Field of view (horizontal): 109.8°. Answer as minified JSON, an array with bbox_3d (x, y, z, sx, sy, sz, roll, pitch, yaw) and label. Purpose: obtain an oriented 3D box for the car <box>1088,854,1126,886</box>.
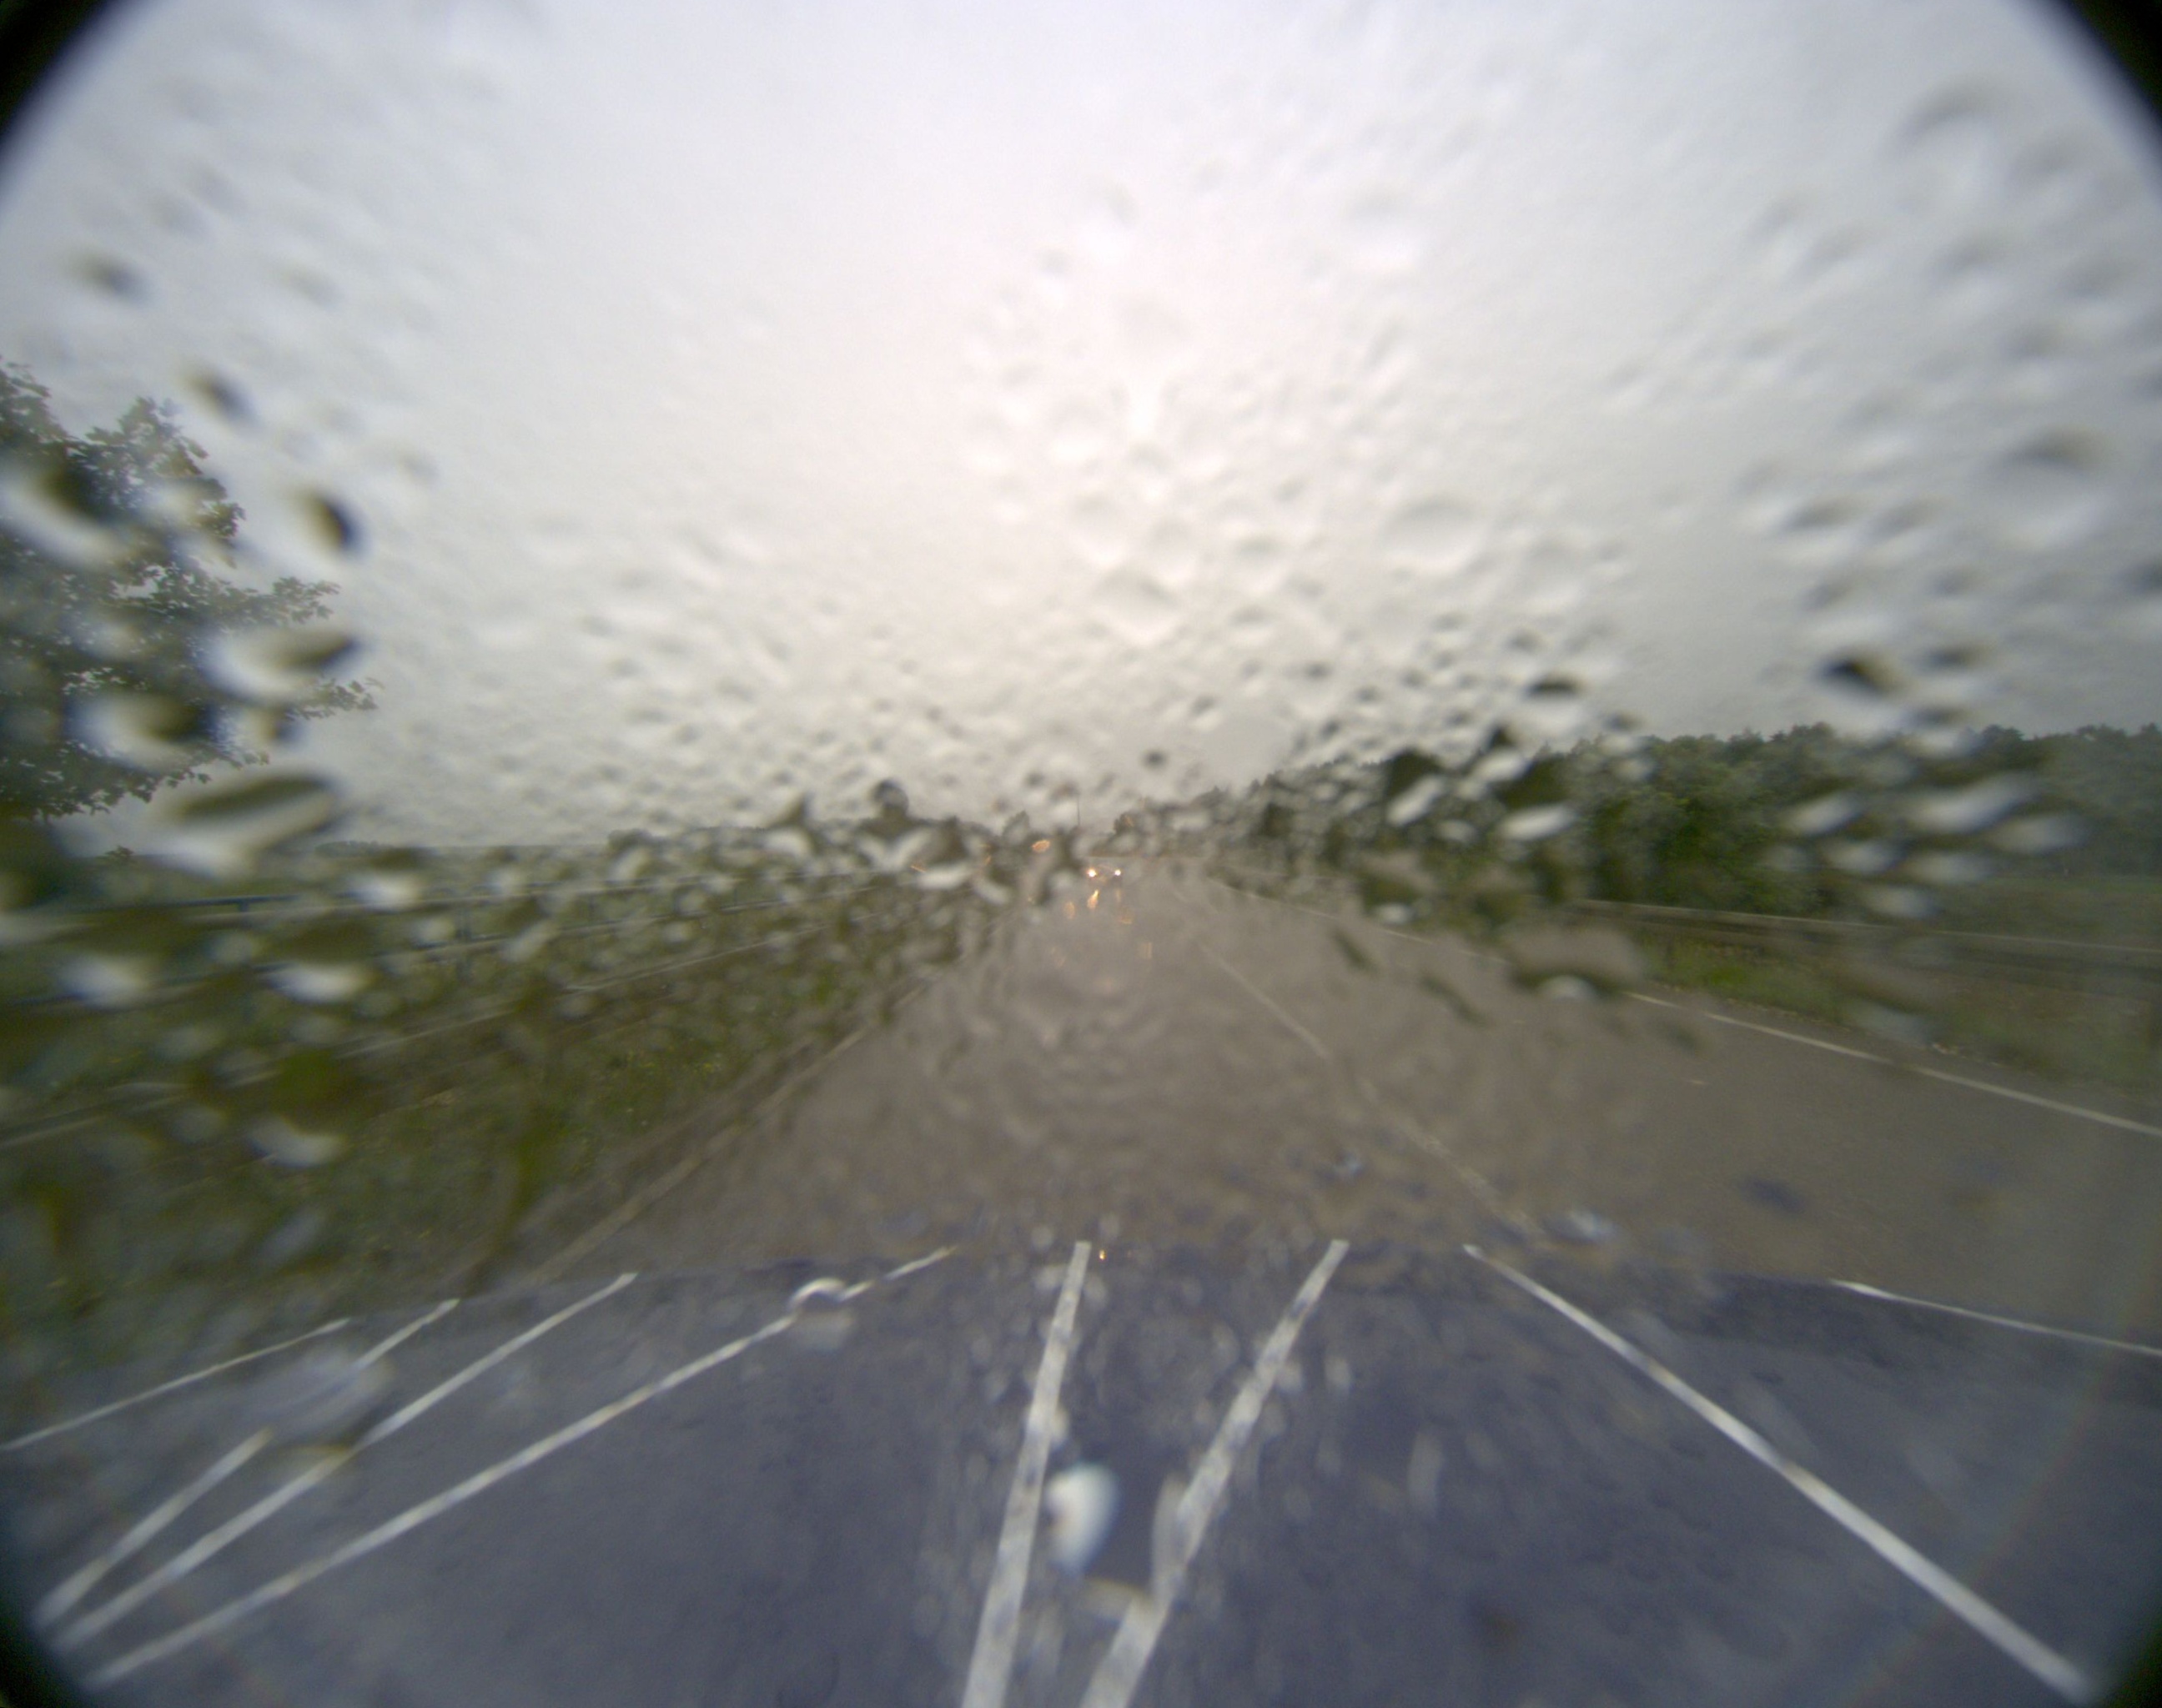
[{"bbox_3d":[1.415,0.824,40.014,1.818,1.382,4.068,-3,2,4],"label":"car"}]
